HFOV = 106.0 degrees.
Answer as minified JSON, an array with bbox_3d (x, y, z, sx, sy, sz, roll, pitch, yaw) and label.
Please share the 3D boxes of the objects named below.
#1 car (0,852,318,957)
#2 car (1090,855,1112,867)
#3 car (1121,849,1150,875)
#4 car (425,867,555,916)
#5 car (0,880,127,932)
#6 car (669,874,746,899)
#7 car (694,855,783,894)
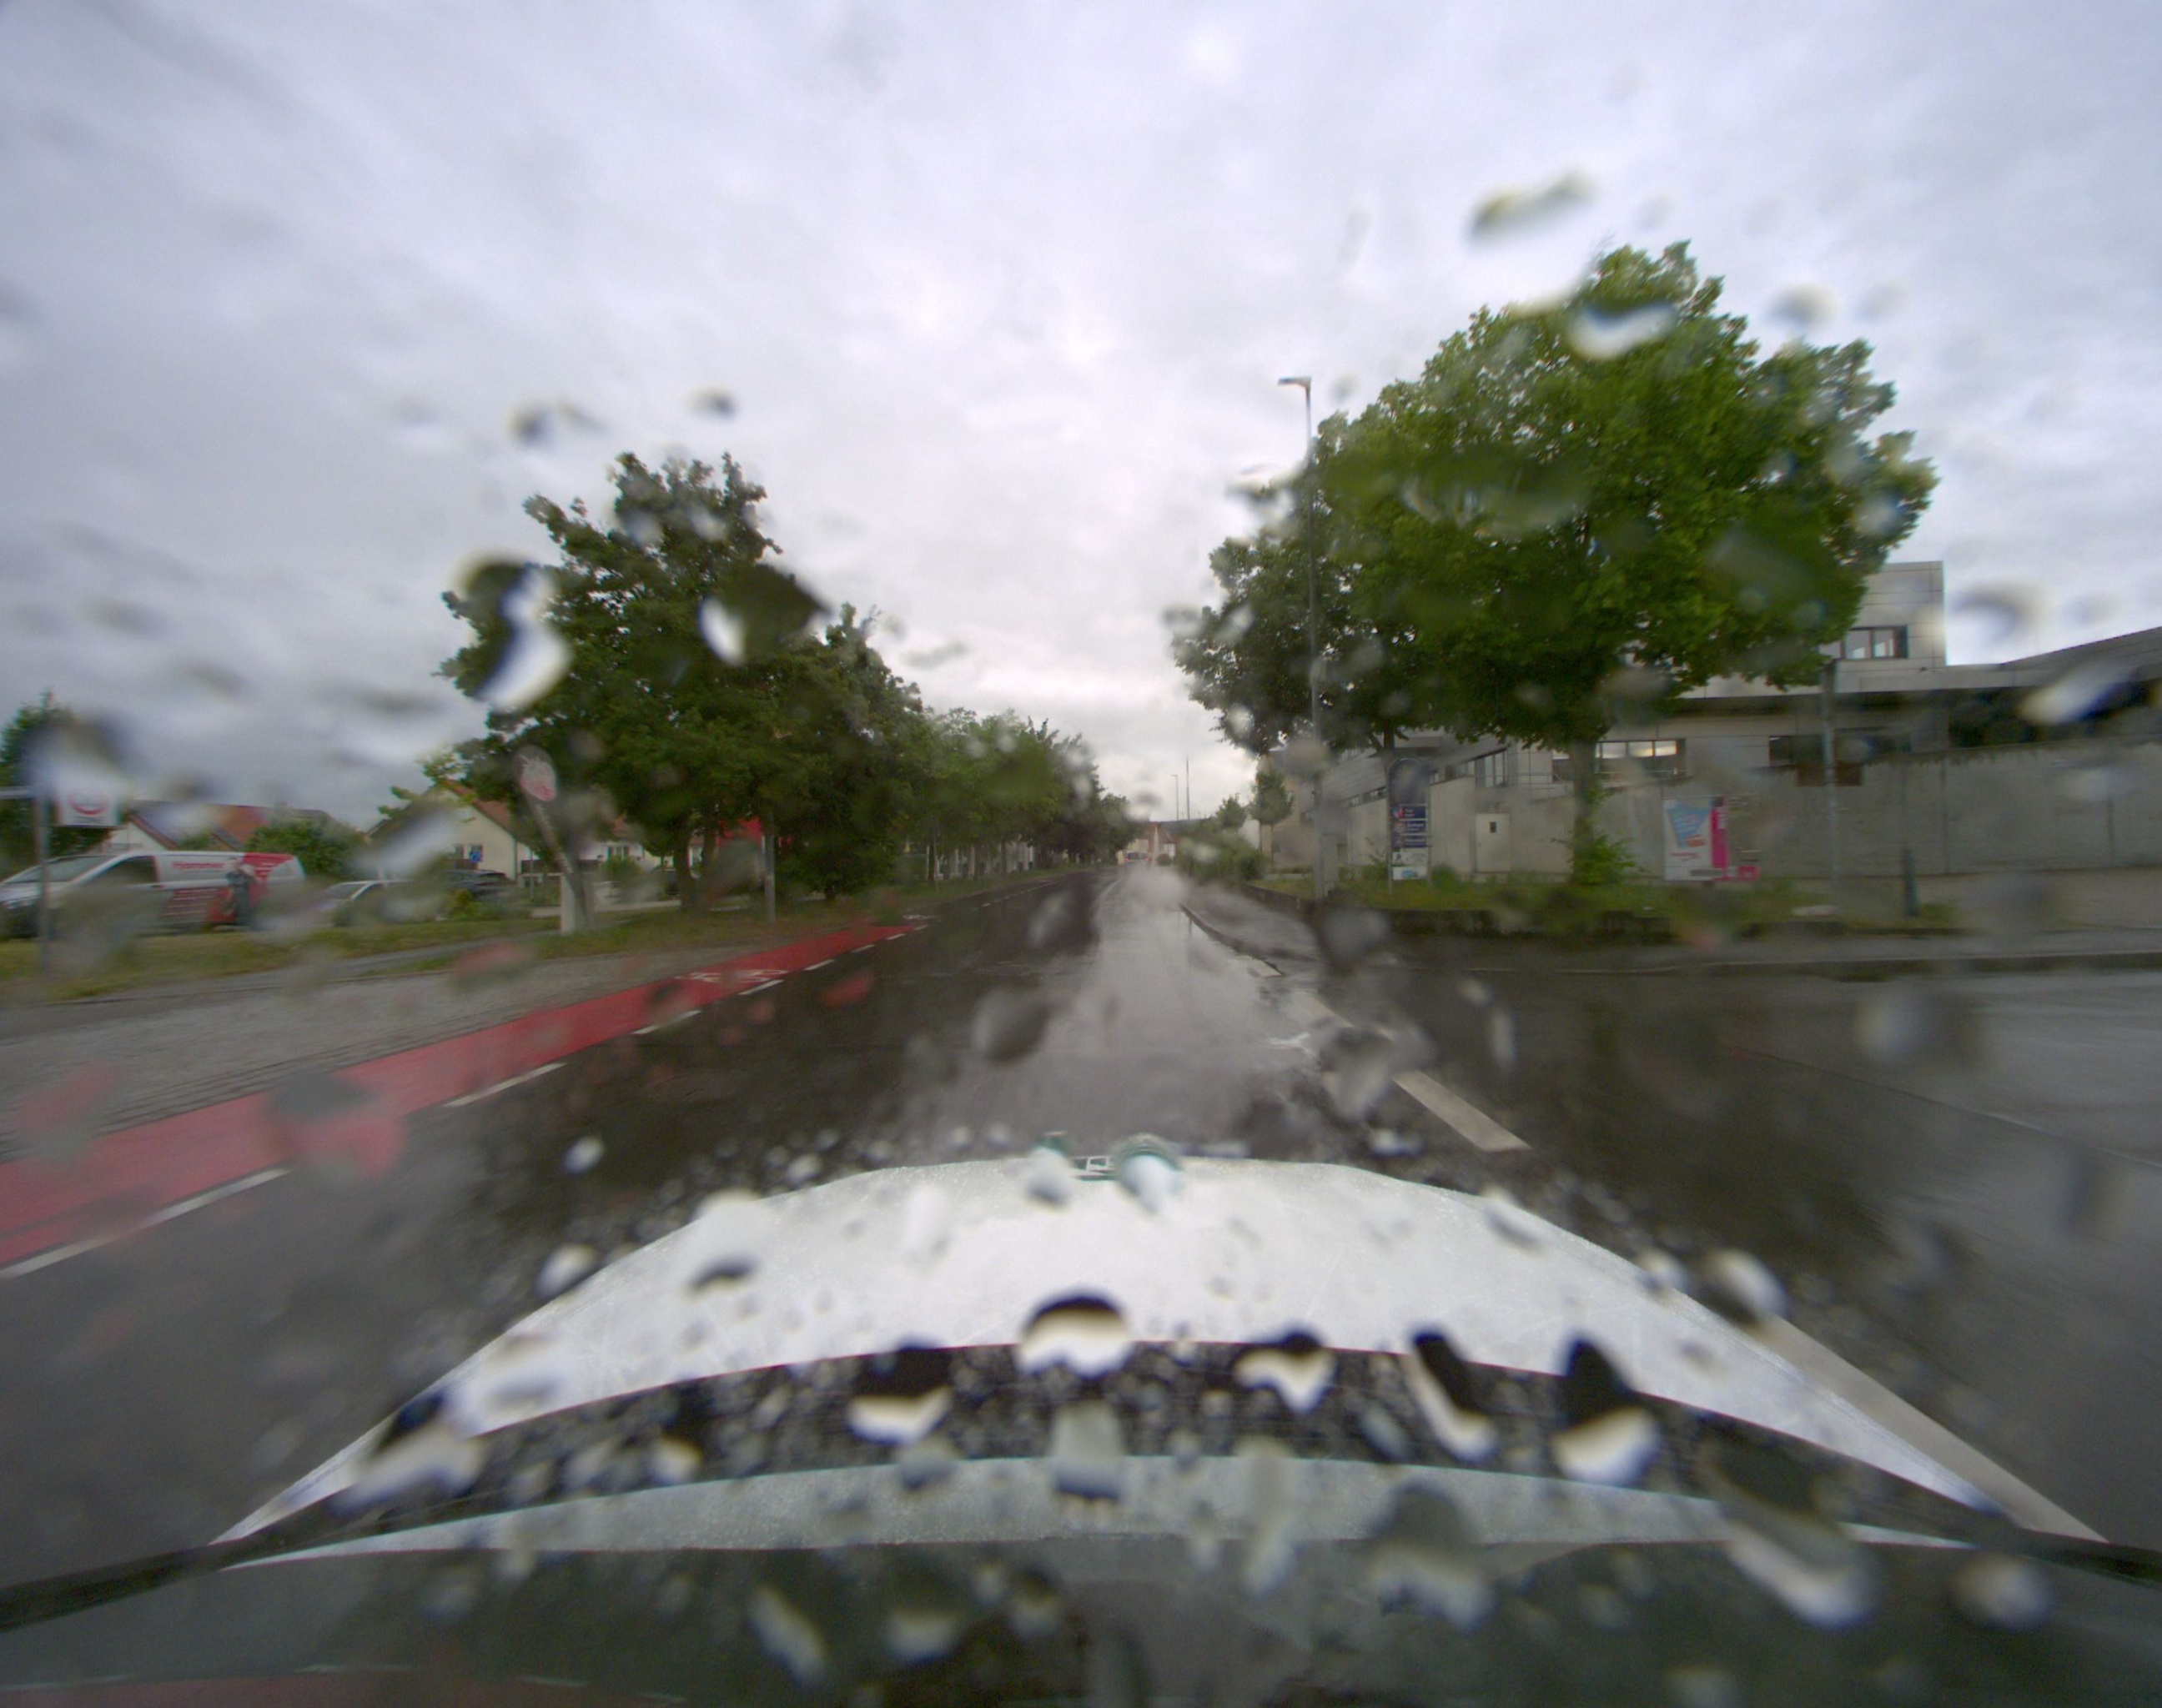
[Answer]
[{"bbox_3d":[-20.036,0.896,17.336,2.024,1.822,5.615,0,1,4],"label":"car"},{"bbox_3d":[2.835,0.995,116.488,2.892,1.455,1.255,-3,-4,7],"label":"car"},{"bbox_3d":[4.180,0.578,62.743,2.108,1.888,4.506,0,1,3],"label":"car"},{"bbox_3d":[-21.810,1.332,30.304,2.112,1.556,4.157,0,1,-7],"label":"car"},{"bbox_3d":[-28.684,1.401,21.236,1.972,1.230,4.662,0,1,4],"label":"car"},{"bbox_3d":[-20.303,1.745,44.388,3.389,1.244,1.705,0,0,0],"label":"car"},{"bbox_3d":[-20.857,1.215,49.702,4.453,2.310,2.189,0,0,7],"label":"car"}]
